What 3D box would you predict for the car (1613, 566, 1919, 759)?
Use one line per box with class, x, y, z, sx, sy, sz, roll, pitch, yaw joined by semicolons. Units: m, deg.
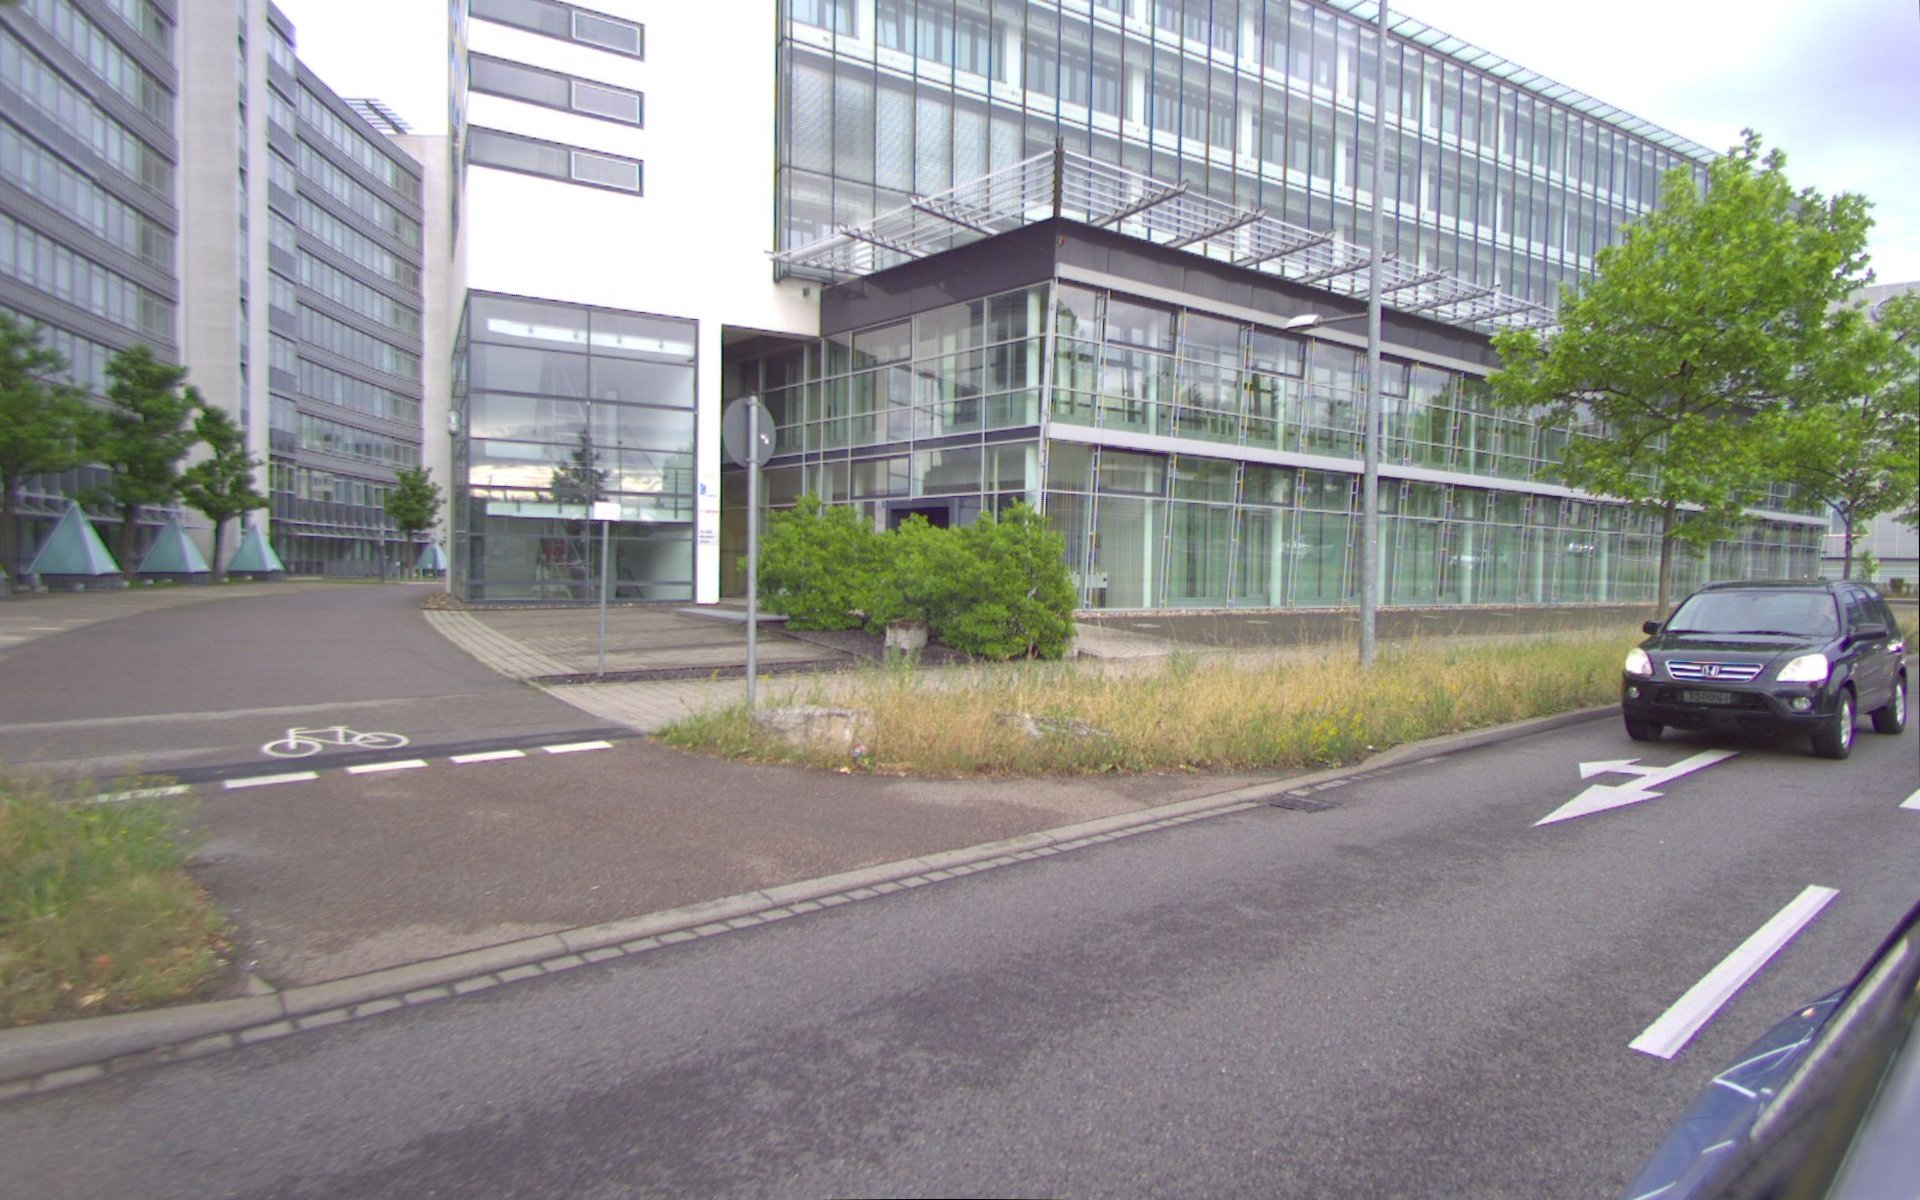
car;8.698;0.504;10.689;4.247;1.650;1.769;-1;0;-39
